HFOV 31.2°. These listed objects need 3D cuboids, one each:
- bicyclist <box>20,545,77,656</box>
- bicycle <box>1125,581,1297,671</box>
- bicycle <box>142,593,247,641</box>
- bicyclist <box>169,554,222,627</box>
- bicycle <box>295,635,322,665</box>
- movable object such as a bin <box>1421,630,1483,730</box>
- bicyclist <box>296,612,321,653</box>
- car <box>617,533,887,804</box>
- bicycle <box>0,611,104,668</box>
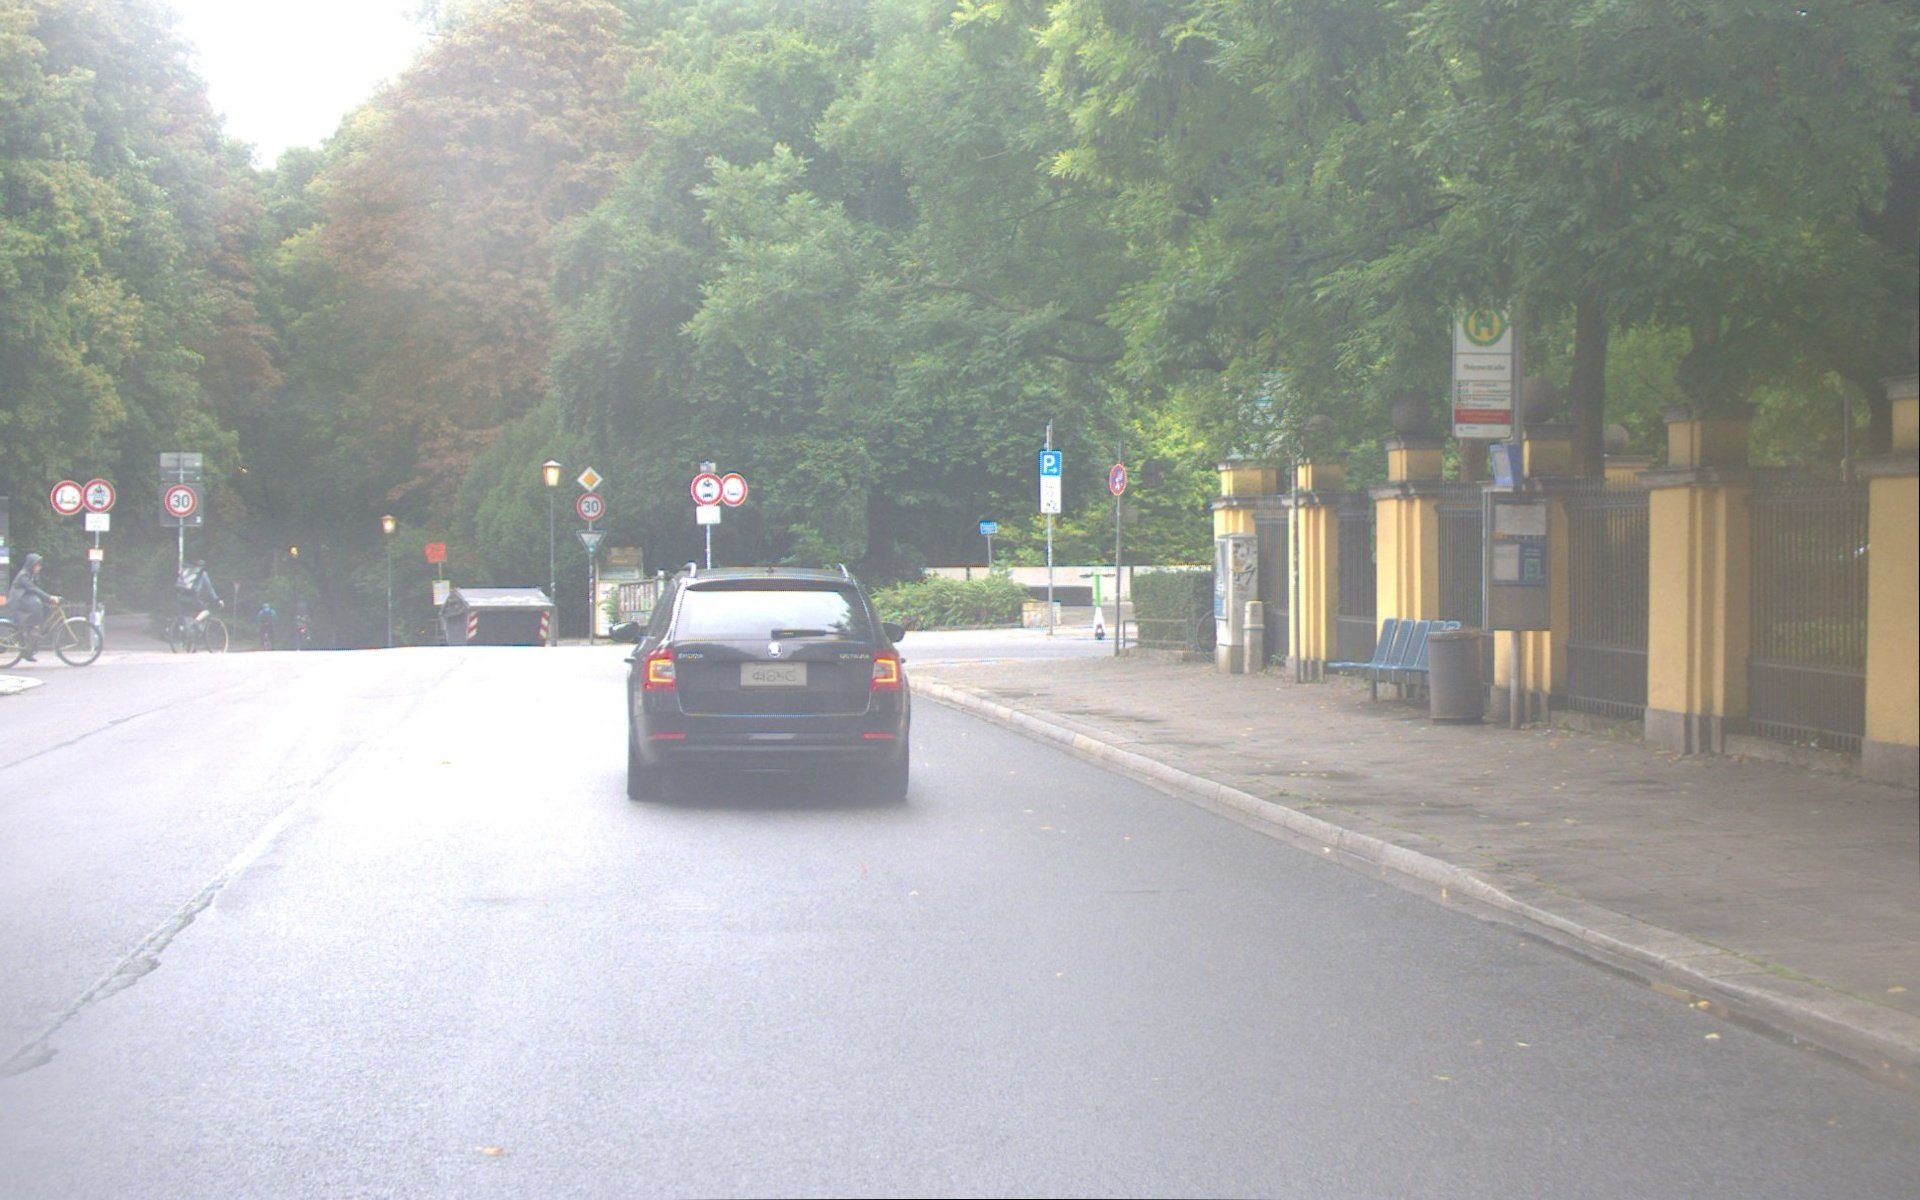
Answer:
[{"bbox_3d":[-13.075,0.009,49.319,0.750,1.579,0.656,-1,0,-13],"label":"bicyclist"},{"bbox_3d":[2.984,0.307,40.874,1.905,0.946,0.582,-4,0,-13],"label":"bicycle"},{"bbox_3d":[-13.608,0.303,61.173,0.680,0.827,2.107,-1,0,24],"label":"bicycle"},{"bbox_3d":[-13.606,-0.173,61.175,0.681,1.278,0.598,0,1,24],"label":"bicyclist"},{"bbox_3d":[-19.079,1.457,100.674,0.679,0.827,2.110,-1,0,-13],"label":"bicycle"},{"bbox_3d":[3.923,0.635,27.423,0.396,0.778,0.465,-1,1,-4],"label":"movable object such as a bin"},{"bbox_3d":[-19.094,0.960,100.695,0.680,1.183,0.481,-1,1,-13],"label":"bicyclist"},{"bbox_3d":[-1.375,0.383,22.303,1.577,1.578,4.045,-1,1,-4],"label":"car"},{"bbox_3d":[-13.175,0.562,49.259,1.763,0.794,0.571,0,0,-13],"label":"bicycle"}]
